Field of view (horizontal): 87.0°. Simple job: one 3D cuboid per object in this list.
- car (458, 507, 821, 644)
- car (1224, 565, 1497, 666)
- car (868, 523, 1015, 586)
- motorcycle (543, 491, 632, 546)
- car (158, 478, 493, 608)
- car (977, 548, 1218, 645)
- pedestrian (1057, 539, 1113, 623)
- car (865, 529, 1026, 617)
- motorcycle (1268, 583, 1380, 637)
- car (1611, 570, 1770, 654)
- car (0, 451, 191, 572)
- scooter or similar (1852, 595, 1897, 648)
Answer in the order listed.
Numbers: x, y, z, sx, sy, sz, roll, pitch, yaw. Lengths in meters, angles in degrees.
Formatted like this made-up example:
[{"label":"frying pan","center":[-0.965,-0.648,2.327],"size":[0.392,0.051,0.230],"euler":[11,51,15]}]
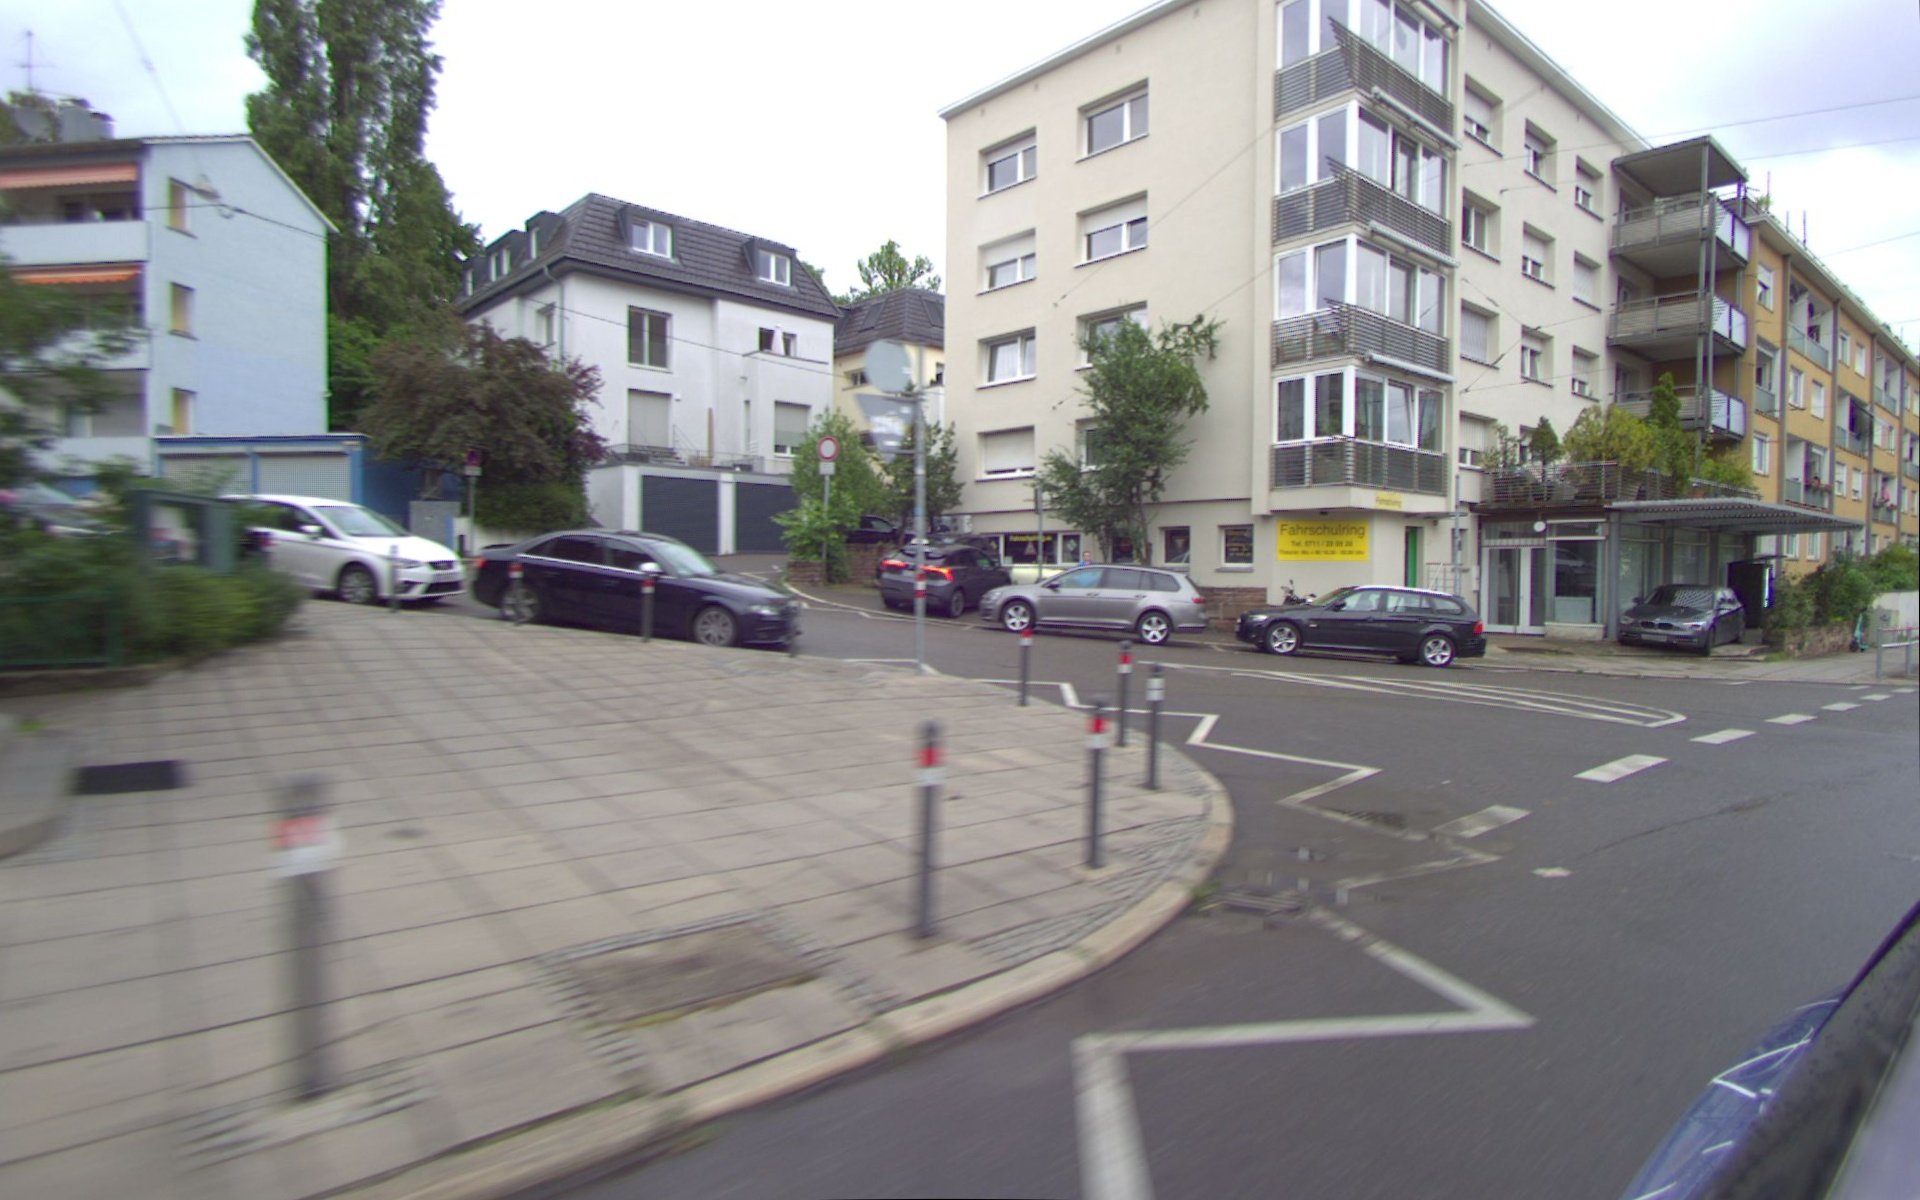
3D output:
[{"label":"car","center":[-4.365,-0.405,14.161],"size":[4.403,1.384,1.940],"euler":[5,5,7]},{"label":"car","center":[7.434,0.257,19.242],"size":[4.376,1.475,1.997],"euler":[4,1,8]},{"label":"car","center":[-0.438,-1.210,27.387],"size":[1.989,1.564,3.948],"euler":[0,2,37]},{"label":"motorcycle","center":[-11.209,-2.427,30.457],"size":[2.438,1.556,0.946],"euler":[0,1,18]},{"label":"car","center":[-9.359,-0.868,15.104],"size":[3.863,1.512,1.945],"euler":[5,4,7]},{"label":"car","center":[2.673,-0.117,19.911],"size":[4.377,1.475,1.998],"euler":[5,2,9]},{"label":"pedestrian","center":[2.896,-0.455,23.465],"size":[1.010,1.820,0.775],"euler":[6,4,18]},{"label":"car","center":[-0.207,-0.674,23.456],"size":[1.982,1.635,4.415],"euler":[8,5,23]},{"label":"motorcycle","center":[8.000,0.219,22.302],"size":[2.177,0.991,0.551],"euler":[4,3,9]},{"label":"car","center":[16.998,0.195,23.476],"size":[4.371,1.520,1.859],"euler":[-4,7,-39]},{"label":"car","center":[-14.264,-1.426,15.558],"size":[3.570,1.459,1.941],"euler":[7,6,7]},{"label":"scooter or similar","center":[24.810,0.562,27.440],"size":[1.629,1.342,0.536],"euler":[-1,6,-39]}]
